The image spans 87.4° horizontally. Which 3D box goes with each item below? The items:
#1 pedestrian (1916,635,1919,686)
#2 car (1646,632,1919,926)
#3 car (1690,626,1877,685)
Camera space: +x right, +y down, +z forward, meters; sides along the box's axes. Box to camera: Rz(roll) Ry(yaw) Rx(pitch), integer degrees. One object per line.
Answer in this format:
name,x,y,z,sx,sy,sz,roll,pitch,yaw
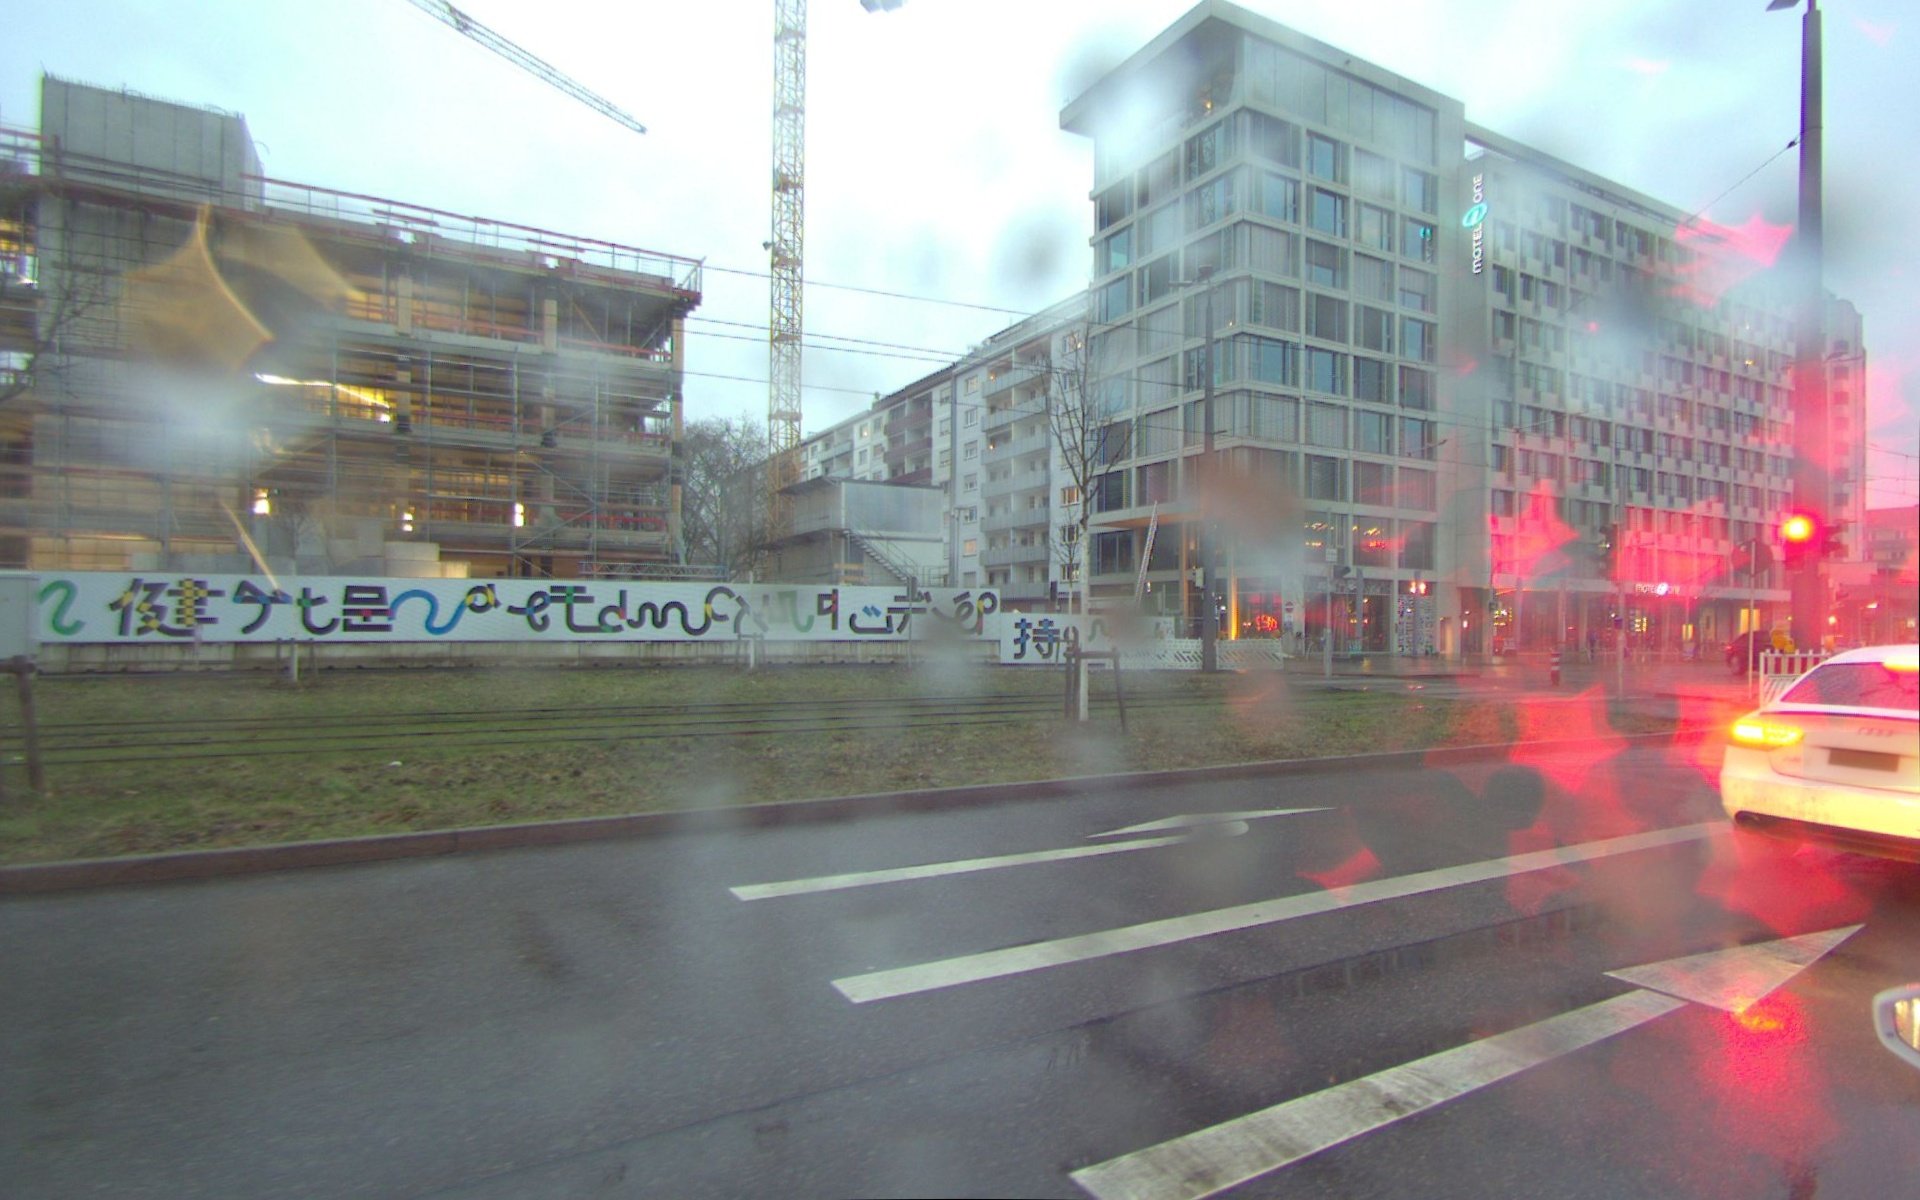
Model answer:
pedestrian,33.316,2.098,34.384,0.808,1.734,0.782,2,0,-45
car,6.597,0.972,6.546,4.320,1.475,1.983,1,-1,-32
car,25.339,1.666,31.124,1.733,1.550,4.315,2,0,-13
